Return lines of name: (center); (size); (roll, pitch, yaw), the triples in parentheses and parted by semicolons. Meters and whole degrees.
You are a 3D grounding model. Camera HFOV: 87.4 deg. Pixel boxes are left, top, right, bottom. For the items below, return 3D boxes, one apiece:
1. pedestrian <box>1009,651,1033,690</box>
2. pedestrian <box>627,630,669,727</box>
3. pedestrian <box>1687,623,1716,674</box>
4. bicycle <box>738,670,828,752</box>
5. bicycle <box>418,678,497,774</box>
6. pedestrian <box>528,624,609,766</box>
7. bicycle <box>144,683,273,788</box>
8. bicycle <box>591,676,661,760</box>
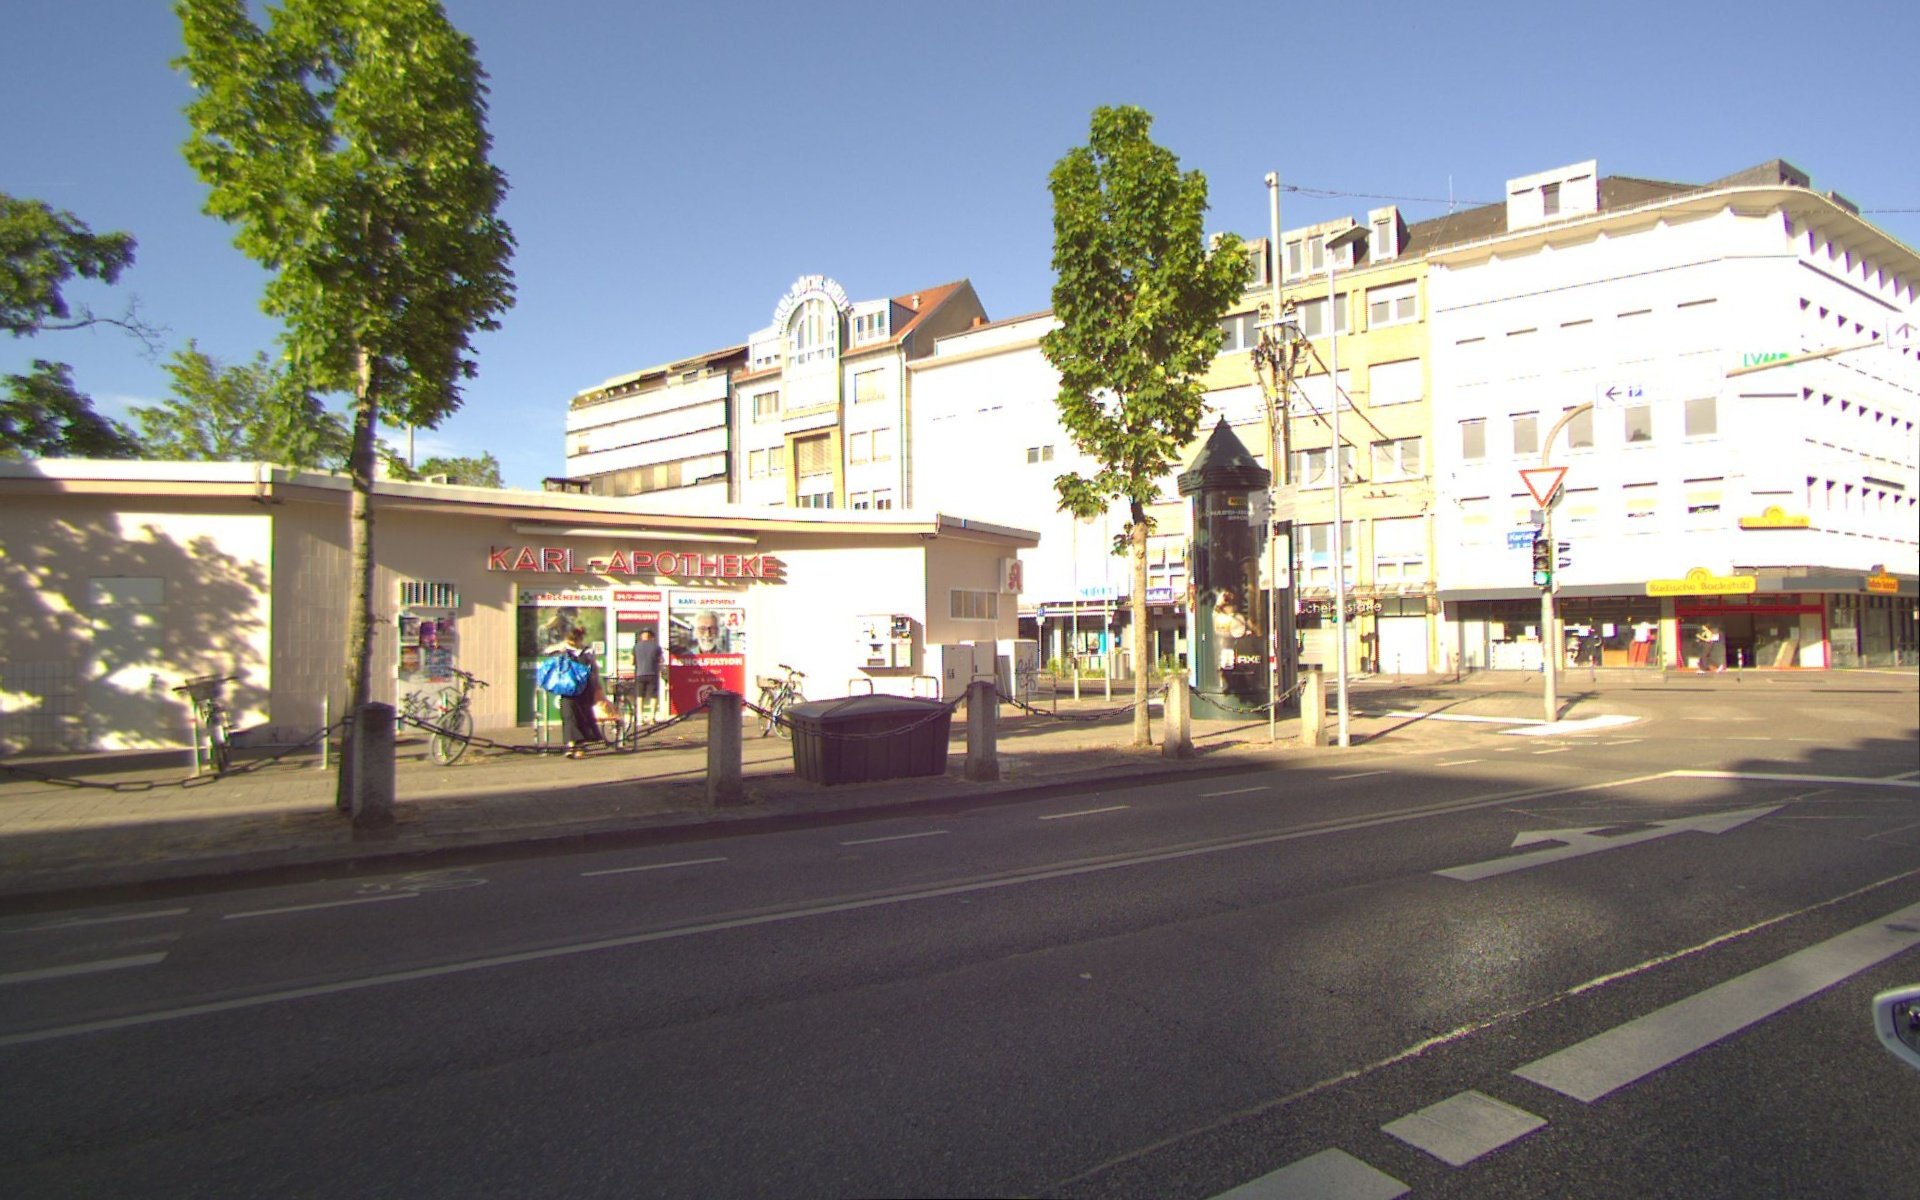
pedestrian: (2.650, 3.066, 43.702); (0.898, 1.685, 0.946); (-1, -3, 9)
pedestrian: (-5.695, 1.425, 18.332); (0.604, 1.731, 0.516); (1, -3, -32)
pedestrian: (25.501, 1.660, 34.537); (0.705, 1.731, 0.555); (1, -3, -35)
bicycle: (-2.732, 1.648, 15.331); (0.745, 1.102, 1.980); (0, -2, -30)
bicycle: (-6.273, 1.536, 12.616); (0.754, 1.015, 1.881); (0, -2, -23)
pedestrian: (-5.018, 1.186, 12.934); (0.888, 1.720, 1.082); (0, -2, -17)
bicycle: (-8.670, 1.522, 11.675); (0.754, 1.015, 1.881); (0, -2, -23)
bicycle: (-4.672, 1.619, 14.156); (0.874, 1.015, 2.012); (0, -3, -17)
